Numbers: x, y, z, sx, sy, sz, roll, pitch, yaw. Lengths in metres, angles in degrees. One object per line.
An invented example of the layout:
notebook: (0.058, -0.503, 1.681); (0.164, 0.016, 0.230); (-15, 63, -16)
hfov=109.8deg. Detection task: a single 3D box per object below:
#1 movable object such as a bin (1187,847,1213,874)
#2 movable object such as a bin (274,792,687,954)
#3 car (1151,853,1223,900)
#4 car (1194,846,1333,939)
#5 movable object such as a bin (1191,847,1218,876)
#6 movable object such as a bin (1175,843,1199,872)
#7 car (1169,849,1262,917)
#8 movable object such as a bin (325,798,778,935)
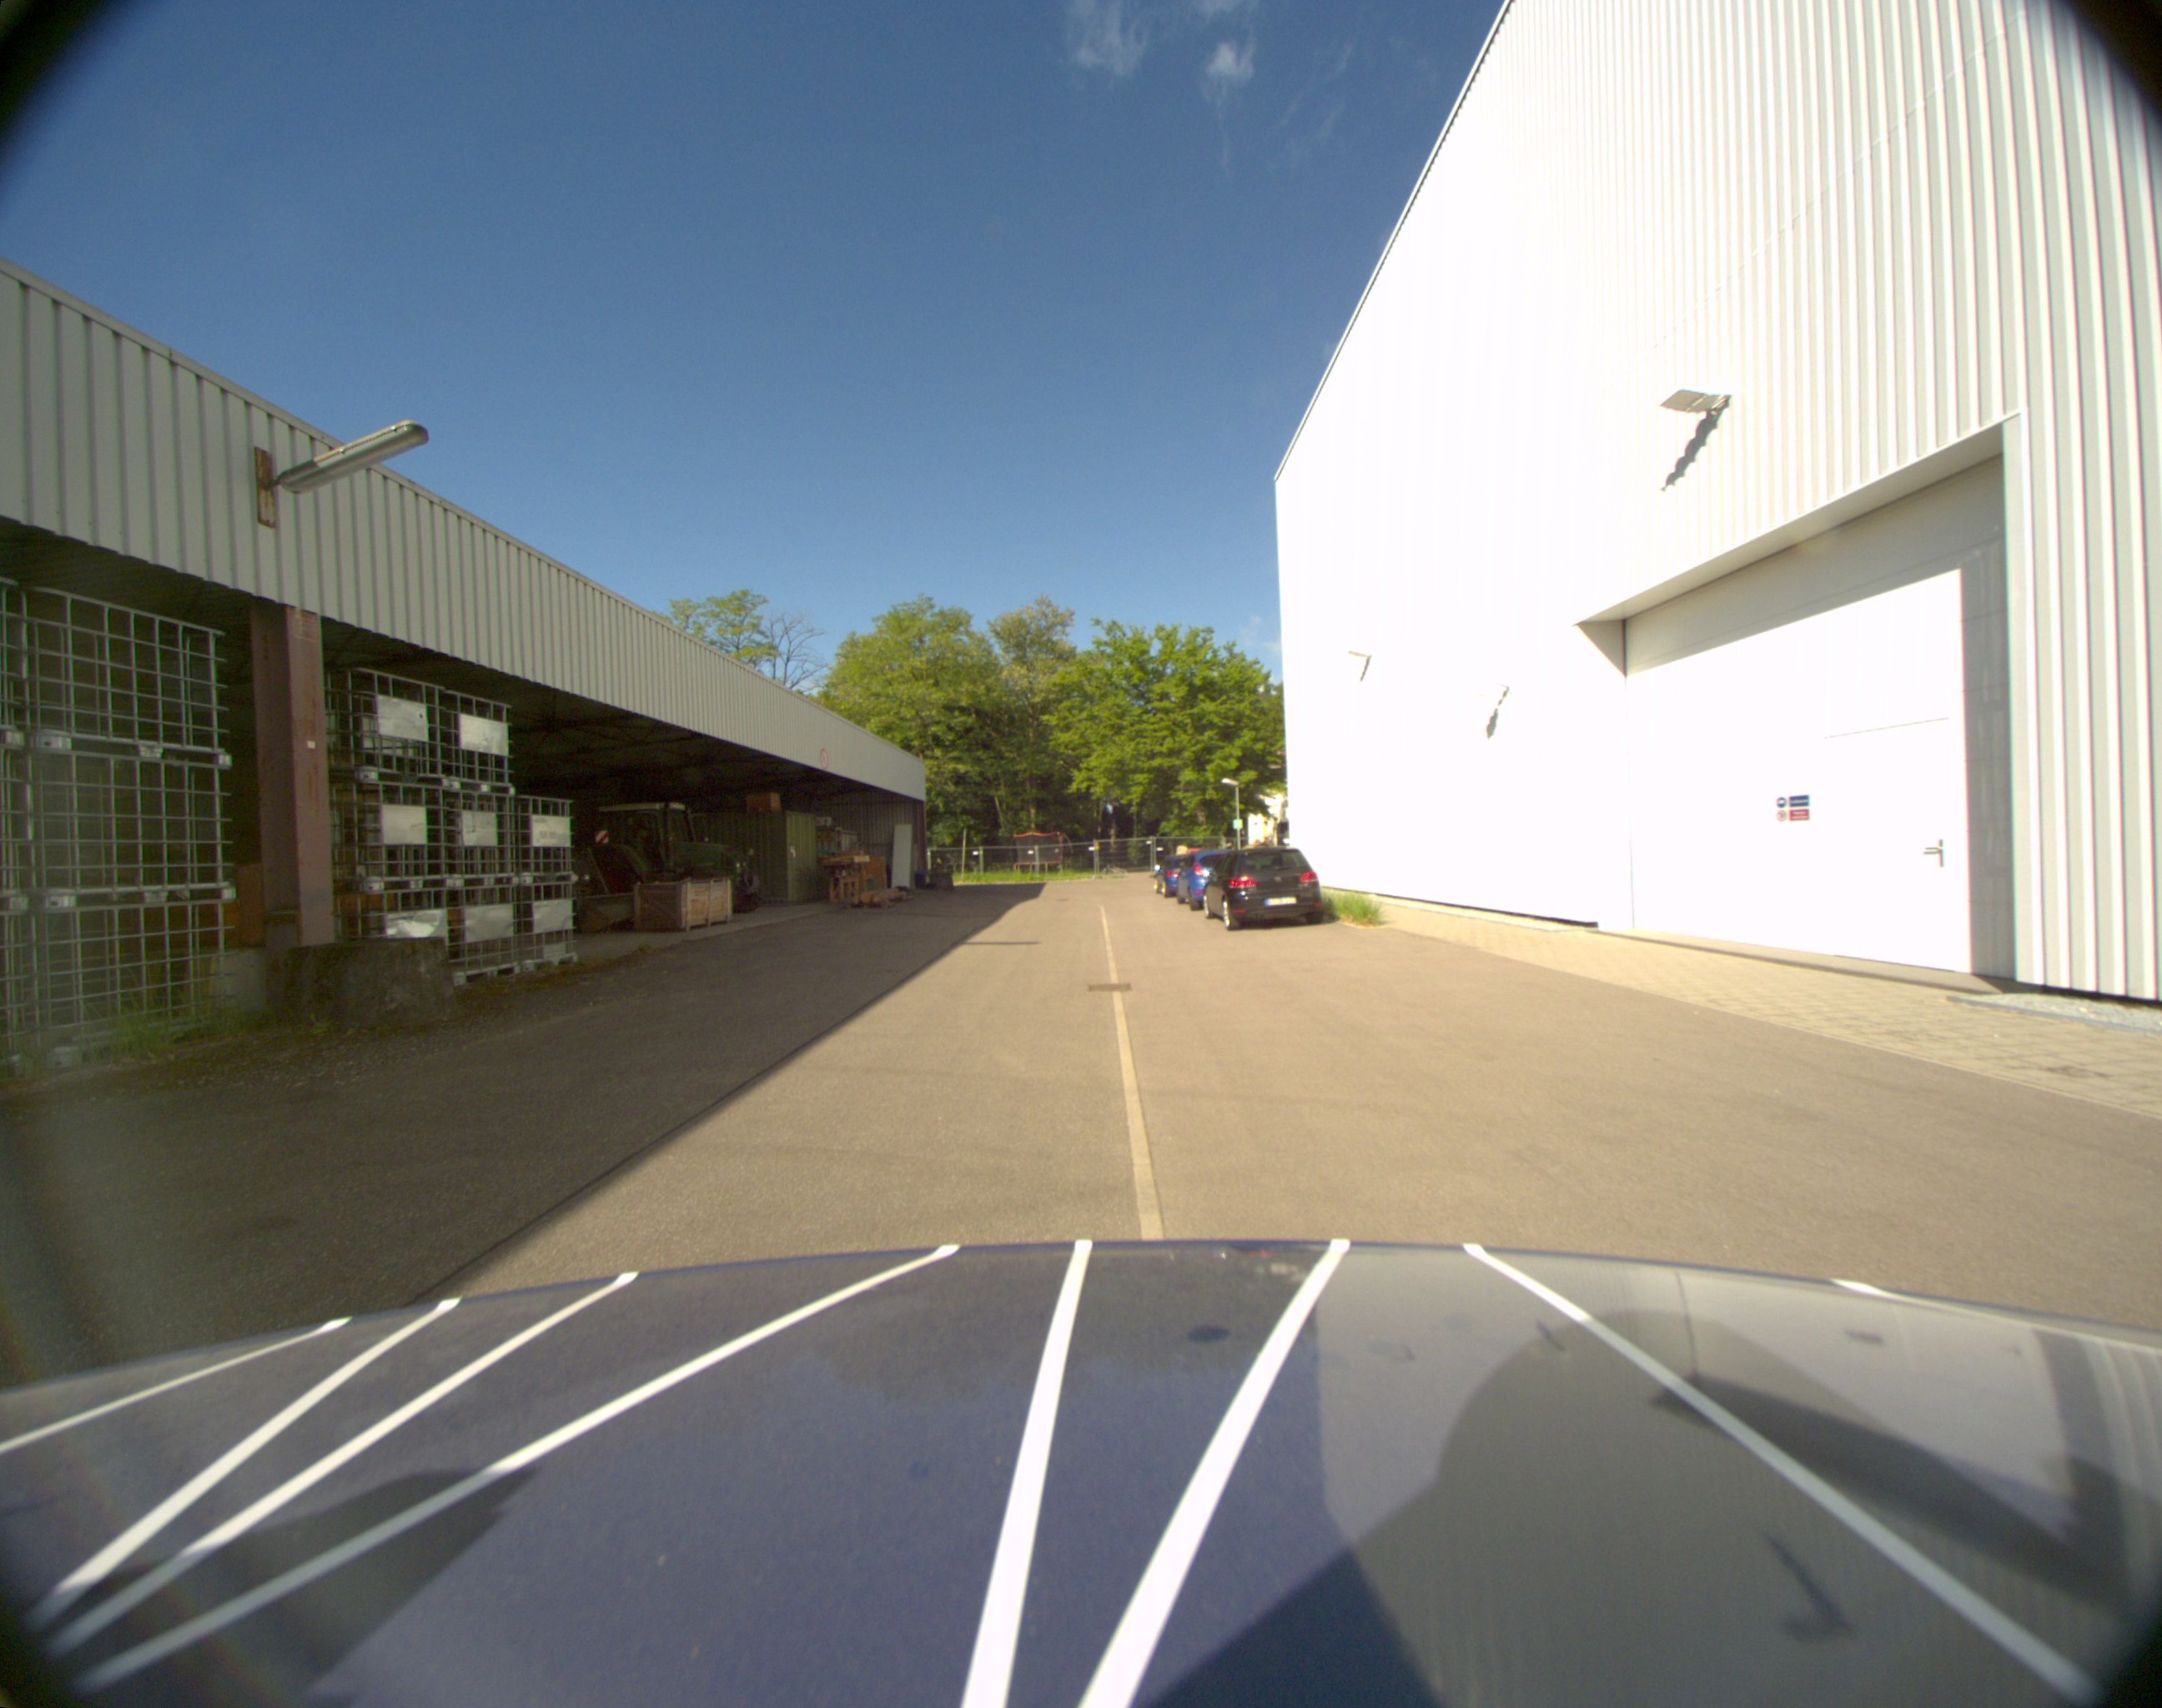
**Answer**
movable object such as a bin: (6.623, 0.348, 42.340); (1.093, 1.431, 1.230); (-4, 2, -5)
movable object such as a bin: (-12.228, 0.361, 15.968); (6.200, 2.893, 3.016); (-2, 1, 2)
car: (3.473, 0.693, 25.560); (1.778, 1.353, 4.053); (-3, 0, 0)
car: (3.460, 0.655, 15.215); (1.759, 1.491, 4.294); (-4, 0, 1)
movable object such as a bin: (6.645, 0.391, 41.007); (1.093, 1.424, 1.230); (-4, 2, -5)
movable object such as a bin: (6.167, 0.208, 44.239); (1.093, 1.588, 1.230); (-3, 3, -5)
car: (3.435, 0.672, 20.112); (1.635, 1.491, 4.094); (-5, 0, 0)
movable object such as a bin: (-12.988, 0.299, 19.283); (9.214, 2.893, 3.212); (-2, 1, 2)
